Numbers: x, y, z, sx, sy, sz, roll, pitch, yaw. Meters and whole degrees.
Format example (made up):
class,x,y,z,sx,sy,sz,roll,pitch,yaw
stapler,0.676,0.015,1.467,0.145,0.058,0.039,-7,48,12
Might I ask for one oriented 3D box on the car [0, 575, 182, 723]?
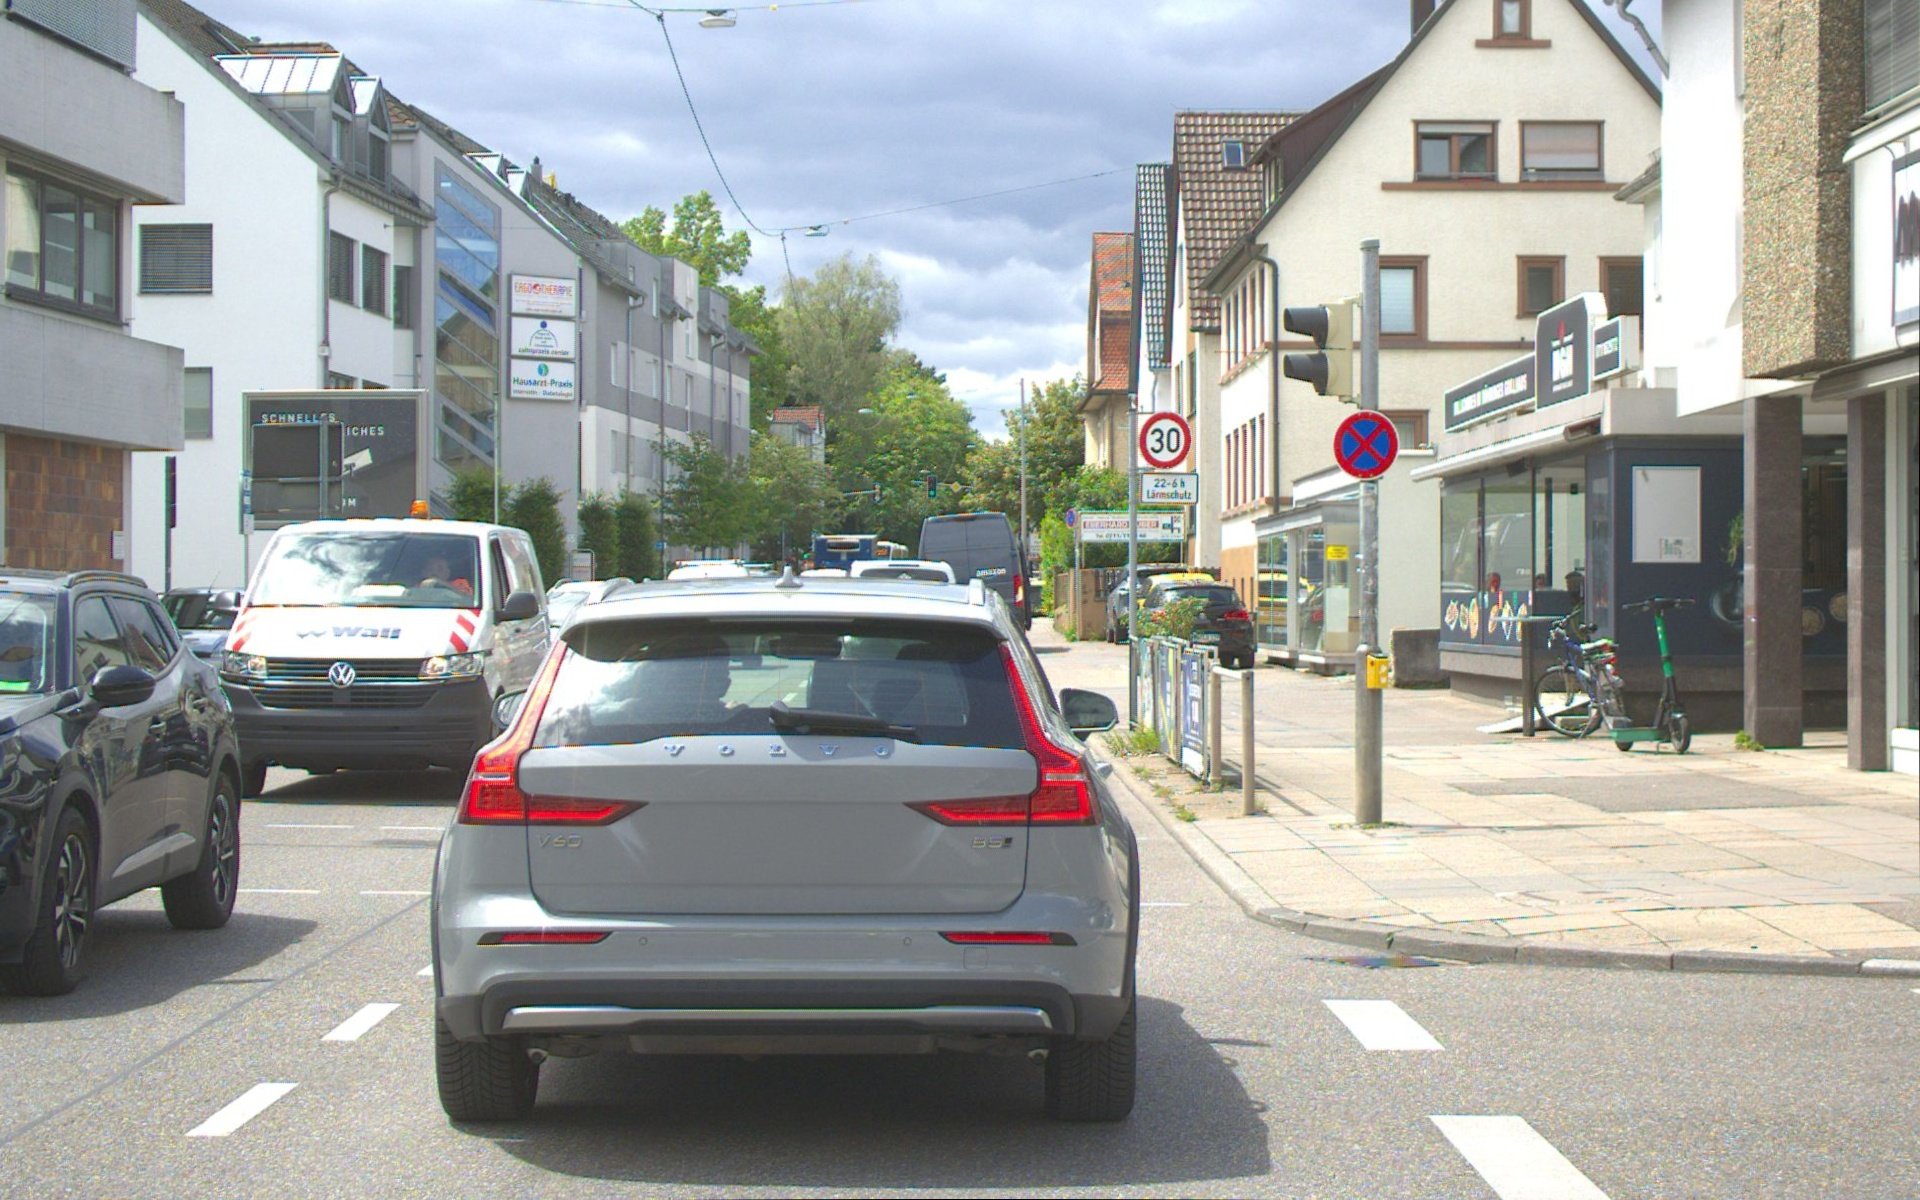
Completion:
class,x,y,z,sx,sy,sz,roll,pitch,yaw
car,-9.893,0.521,38.597,1.607,1.538,2.944,2,1,0

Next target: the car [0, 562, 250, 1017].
class,x,y,z,sx,sy,sz,roll,pitch,yaw
car,-3.974,0.613,13.249,1.683,1.492,3.967,0,0,-1

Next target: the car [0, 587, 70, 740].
class,x,y,z,sx,sy,sz,roll,pitch,yaw
car,-10.128,0.601,32.697,1.904,1.438,4.442,2,1,4

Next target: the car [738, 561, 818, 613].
class,x,y,z,sx,sy,sz,roll,pitch,yaw
car,-5.157,-0.388,97.841,1.762,1.421,4.000,-1,1,4

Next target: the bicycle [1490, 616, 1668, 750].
class,x,y,z,sx,sy,sz,roll,pitch,yaw
bicycle,5.604,0.734,31.275,0.554,1.140,2.301,-1,1,-18

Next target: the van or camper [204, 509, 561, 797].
class,x,y,z,sx,sy,sz,roll,pitch,yaw
van or camper,-4.082,0.300,25.028,1.864,1.891,4.693,0,1,-1

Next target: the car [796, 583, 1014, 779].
class,x,y,z,sx,sy,sz,roll,pitch,yaw
car,-0.457,0.623,28.206,1.650,1.477,3.607,1,0,-1

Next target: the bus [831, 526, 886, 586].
class,x,y,z,sx,sy,sz,roll,pitch,yaw
bus,-4.634,-2.035,157.998,2.276,2.659,7.429,-1,1,0

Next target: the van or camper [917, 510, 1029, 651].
class,x,y,z,sx,sy,sz,roll,pitch,yaw
van or camper,0.258,-0.389,68.030,2.123,2.677,4.781,0,1,0

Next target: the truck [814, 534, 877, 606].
class,x,y,z,sx,sy,sz,roll,pitch,yaw
truck,-4.662,-1.243,140.823,2.276,2.877,7.079,0,1,0

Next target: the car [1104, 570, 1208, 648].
class,x,y,z,sx,sy,sz,roll,pitch,yaw
car,3.955,0.210,69.789,1.883,1.495,3.971,1,-1,0

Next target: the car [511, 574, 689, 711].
class,x,y,z,sx,sy,sz,roll,pitch,yaw
car,-4.259,0.463,41.182,1.668,1.548,4.215,0,0,0

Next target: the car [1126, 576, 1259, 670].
class,x,y,z,sx,sy,sz,roll,pitch,yaw
car,3.765,0.399,56.276,1.710,1.459,4.000,1,-1,-3

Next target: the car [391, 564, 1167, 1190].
class,x,y,z,sx,sy,sz,roll,pitch,yaw
car,-0.468,0.654,10.161,1.836,1.481,4.000,0,0,-1

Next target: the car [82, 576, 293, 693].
class,x,y,z,sx,sy,sz,roll,pitch,yaw
car,-10.025,0.419,44.866,1.755,1.421,3.862,-1,1,2

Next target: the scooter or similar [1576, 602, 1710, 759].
class,x,y,z,sx,sy,sz,roll,pitch,yaw
scooter or similar,5.617,0.660,28.318,0.340,1.249,1.246,-2,0,-26

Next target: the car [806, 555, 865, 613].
class,x,y,z,sx,sy,sz,roll,pitch,yaw
car,-4.159,-0.518,115.143,1.797,1.810,4.000,1,-1,0

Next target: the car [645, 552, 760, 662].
class,x,y,z,sx,sy,sz,roll,pitch,yaw
car,-4.659,0.129,62.681,1.838,1.911,4.156,1,0,-1

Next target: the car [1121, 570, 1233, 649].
class,x,y,z,sx,sy,sz,roll,pitch,yaw
car,4.070,0.197,64.990,1.883,1.411,3.971,1,-1,0

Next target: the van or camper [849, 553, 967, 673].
class,x,y,z,sx,sy,sz,roll,pitch,yaw
van or camper,-0.848,0.245,55.563,1.819,1.829,4.000,0,-2,-1
